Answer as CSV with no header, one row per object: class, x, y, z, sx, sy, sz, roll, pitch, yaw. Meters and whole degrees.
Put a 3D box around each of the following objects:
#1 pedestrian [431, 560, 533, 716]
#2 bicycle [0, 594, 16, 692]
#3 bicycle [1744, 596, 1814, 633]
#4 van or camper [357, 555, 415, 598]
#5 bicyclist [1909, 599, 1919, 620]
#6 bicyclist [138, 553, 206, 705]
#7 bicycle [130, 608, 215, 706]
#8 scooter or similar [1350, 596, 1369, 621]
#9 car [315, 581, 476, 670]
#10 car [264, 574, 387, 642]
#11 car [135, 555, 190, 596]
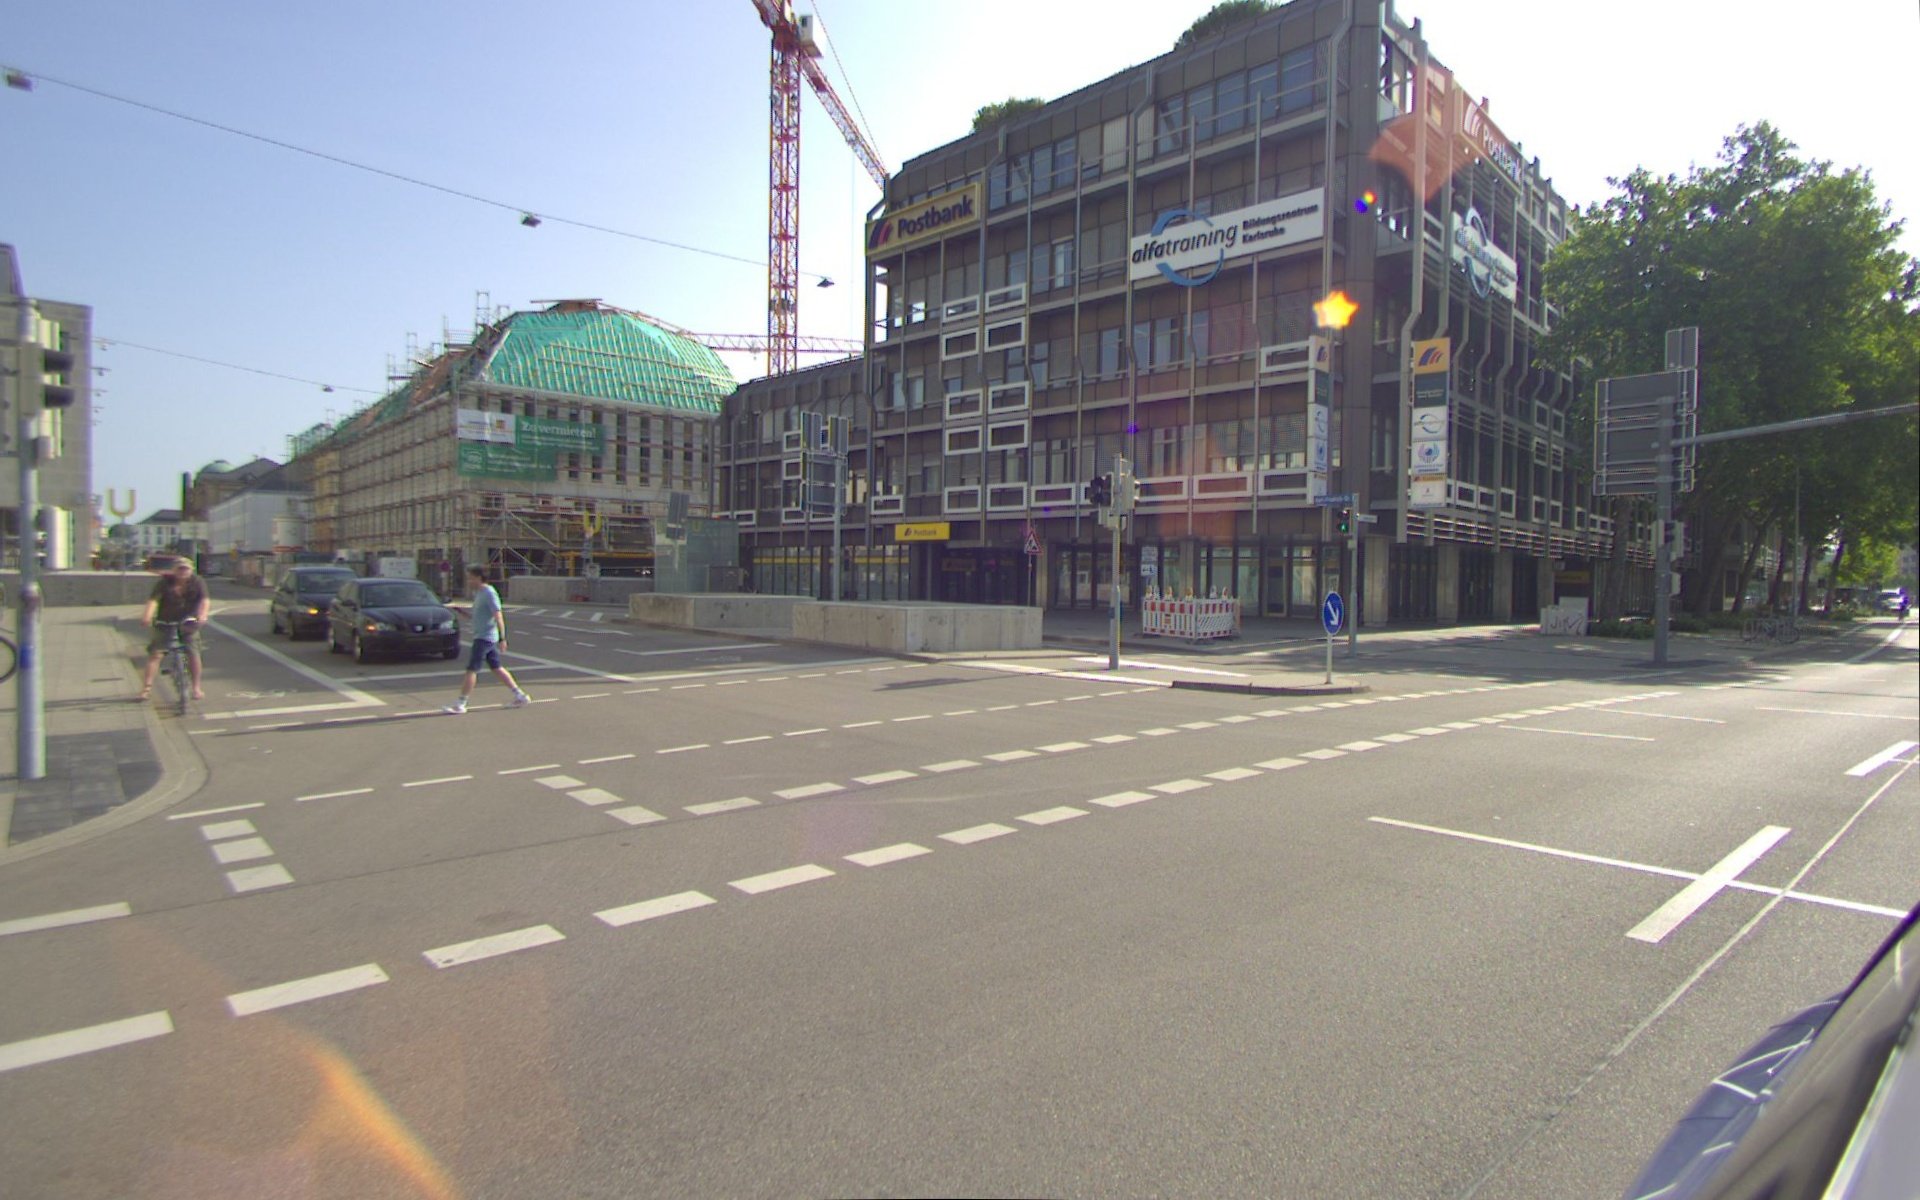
pedestrian,-5.587,0.414,11.830,0.971,1.732,0.644,0,1,-37
bicycle,-13.267,0.567,12.729,2.036,1.253,0.613,-1,1,-44
bicycle,28.912,0.507,35.735,0.528,1.202,1.832,0,2,-40
van or camper,-34.180,-1.384,60.205,1.966,2.439,5.135,0,1,-42
bicyclist,71.011,0.698,75.171,0.608,1.532,0.804,1,1,35
bicyclist,-9.456,0.327,12.136,0.573,1.759,0.635,0,1,-45
bicycle,-9.430,0.635,12.096,0.602,1.030,1.803,0,1,-45
scooter or similar,13.851,0.300,35.064,0.278,0.853,0.944,1,1,44
car,-10.440,0.383,18.596,1.845,1.383,3.900,-2,2,-41
car,-14.541,0.115,23.115,1.846,1.420,3.908,-1,2,-40
car,-50.396,-1.516,63.886,2.385,2.440,4.998,-1,0,-42
